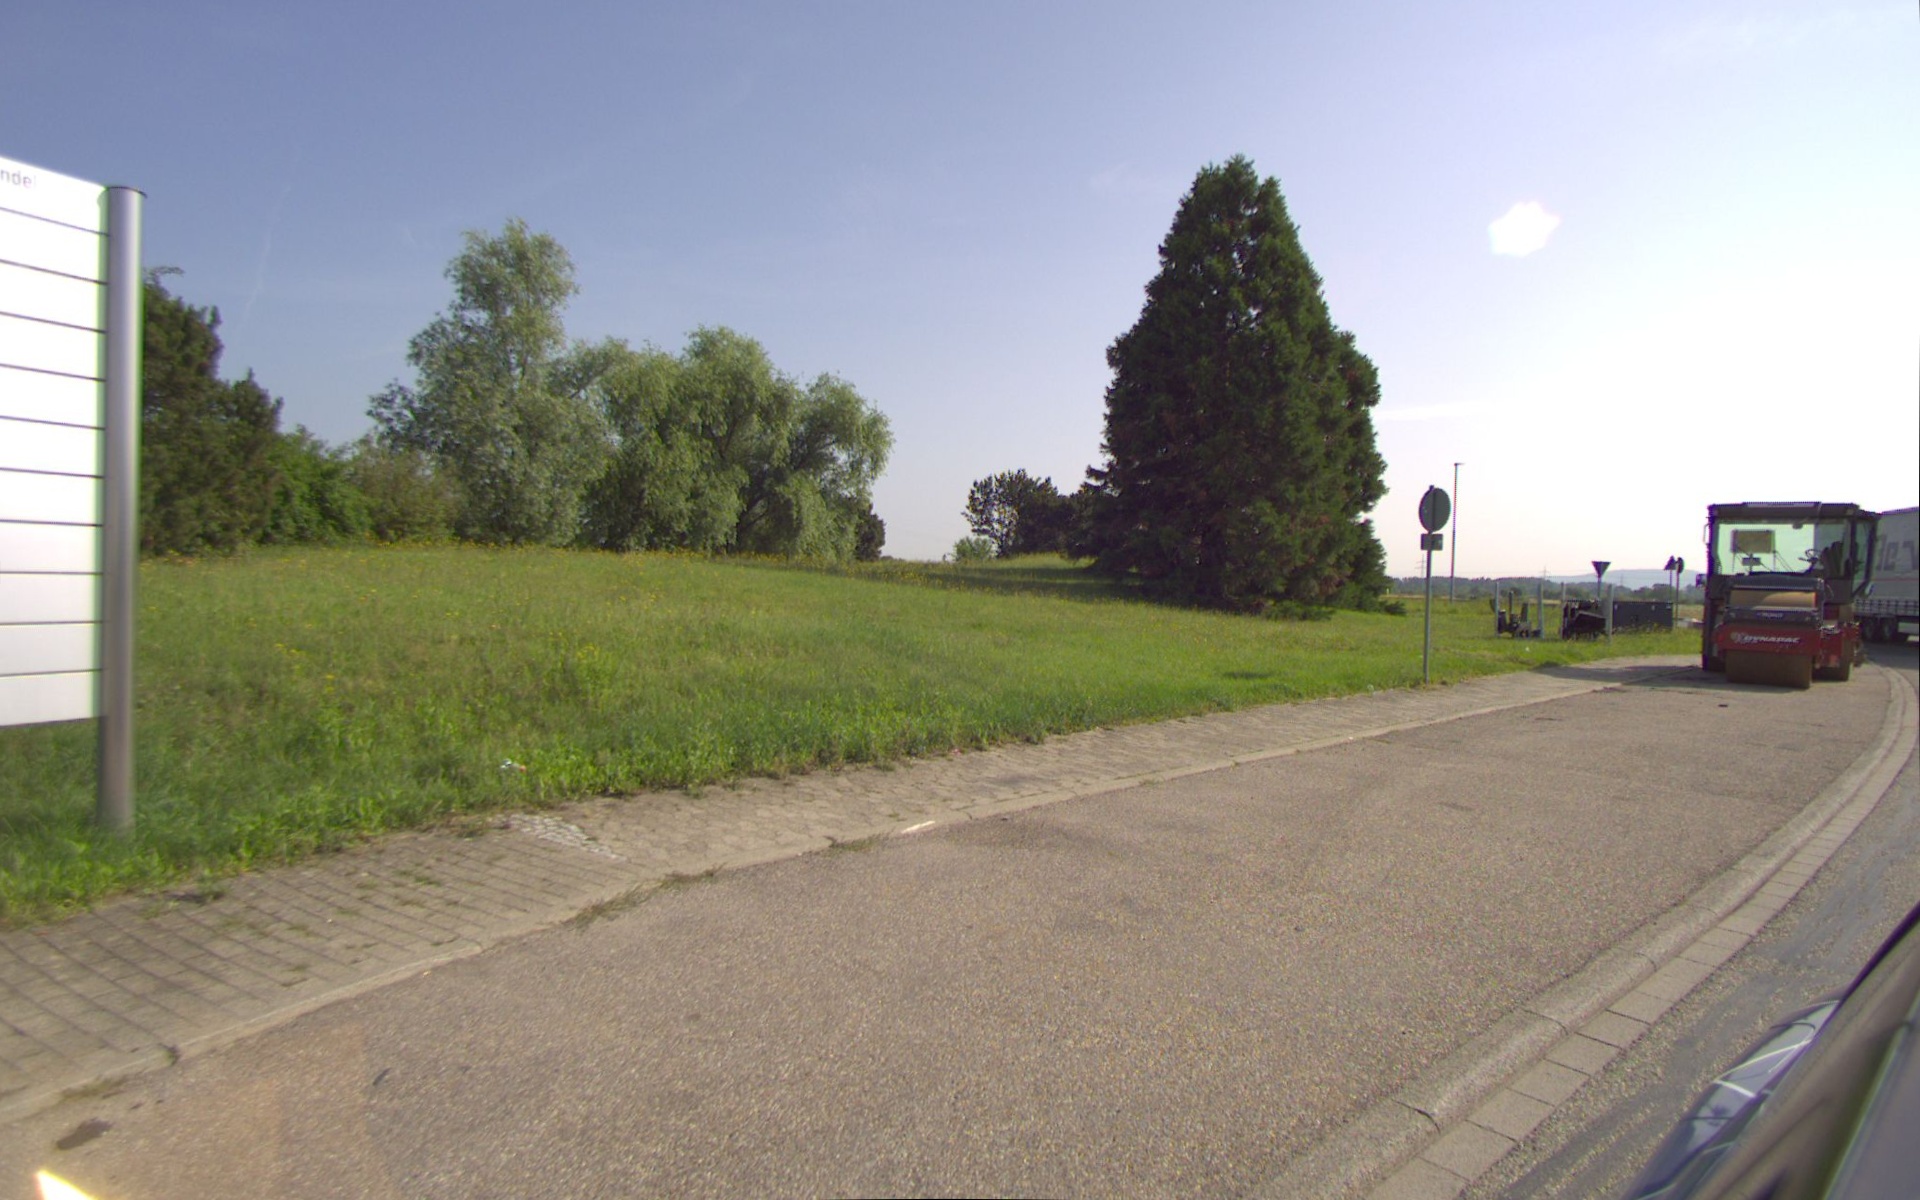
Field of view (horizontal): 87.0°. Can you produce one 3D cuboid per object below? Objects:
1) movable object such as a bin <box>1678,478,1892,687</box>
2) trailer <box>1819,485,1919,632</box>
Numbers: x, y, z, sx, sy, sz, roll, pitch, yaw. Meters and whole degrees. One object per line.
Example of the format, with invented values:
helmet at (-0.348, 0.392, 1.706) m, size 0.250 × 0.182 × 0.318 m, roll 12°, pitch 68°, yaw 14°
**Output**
movable object such as a bin at (14.495, -0.345, 17.661) m, size 2.428 × 3.048 × 5.666 m, roll 4°, pitch 3°, yaw 42°
trailer at (29.668, -1.229, 29.287) m, size 3.462 × 4.260 × 14.117 m, roll -1°, pitch 1°, yaw 24°
